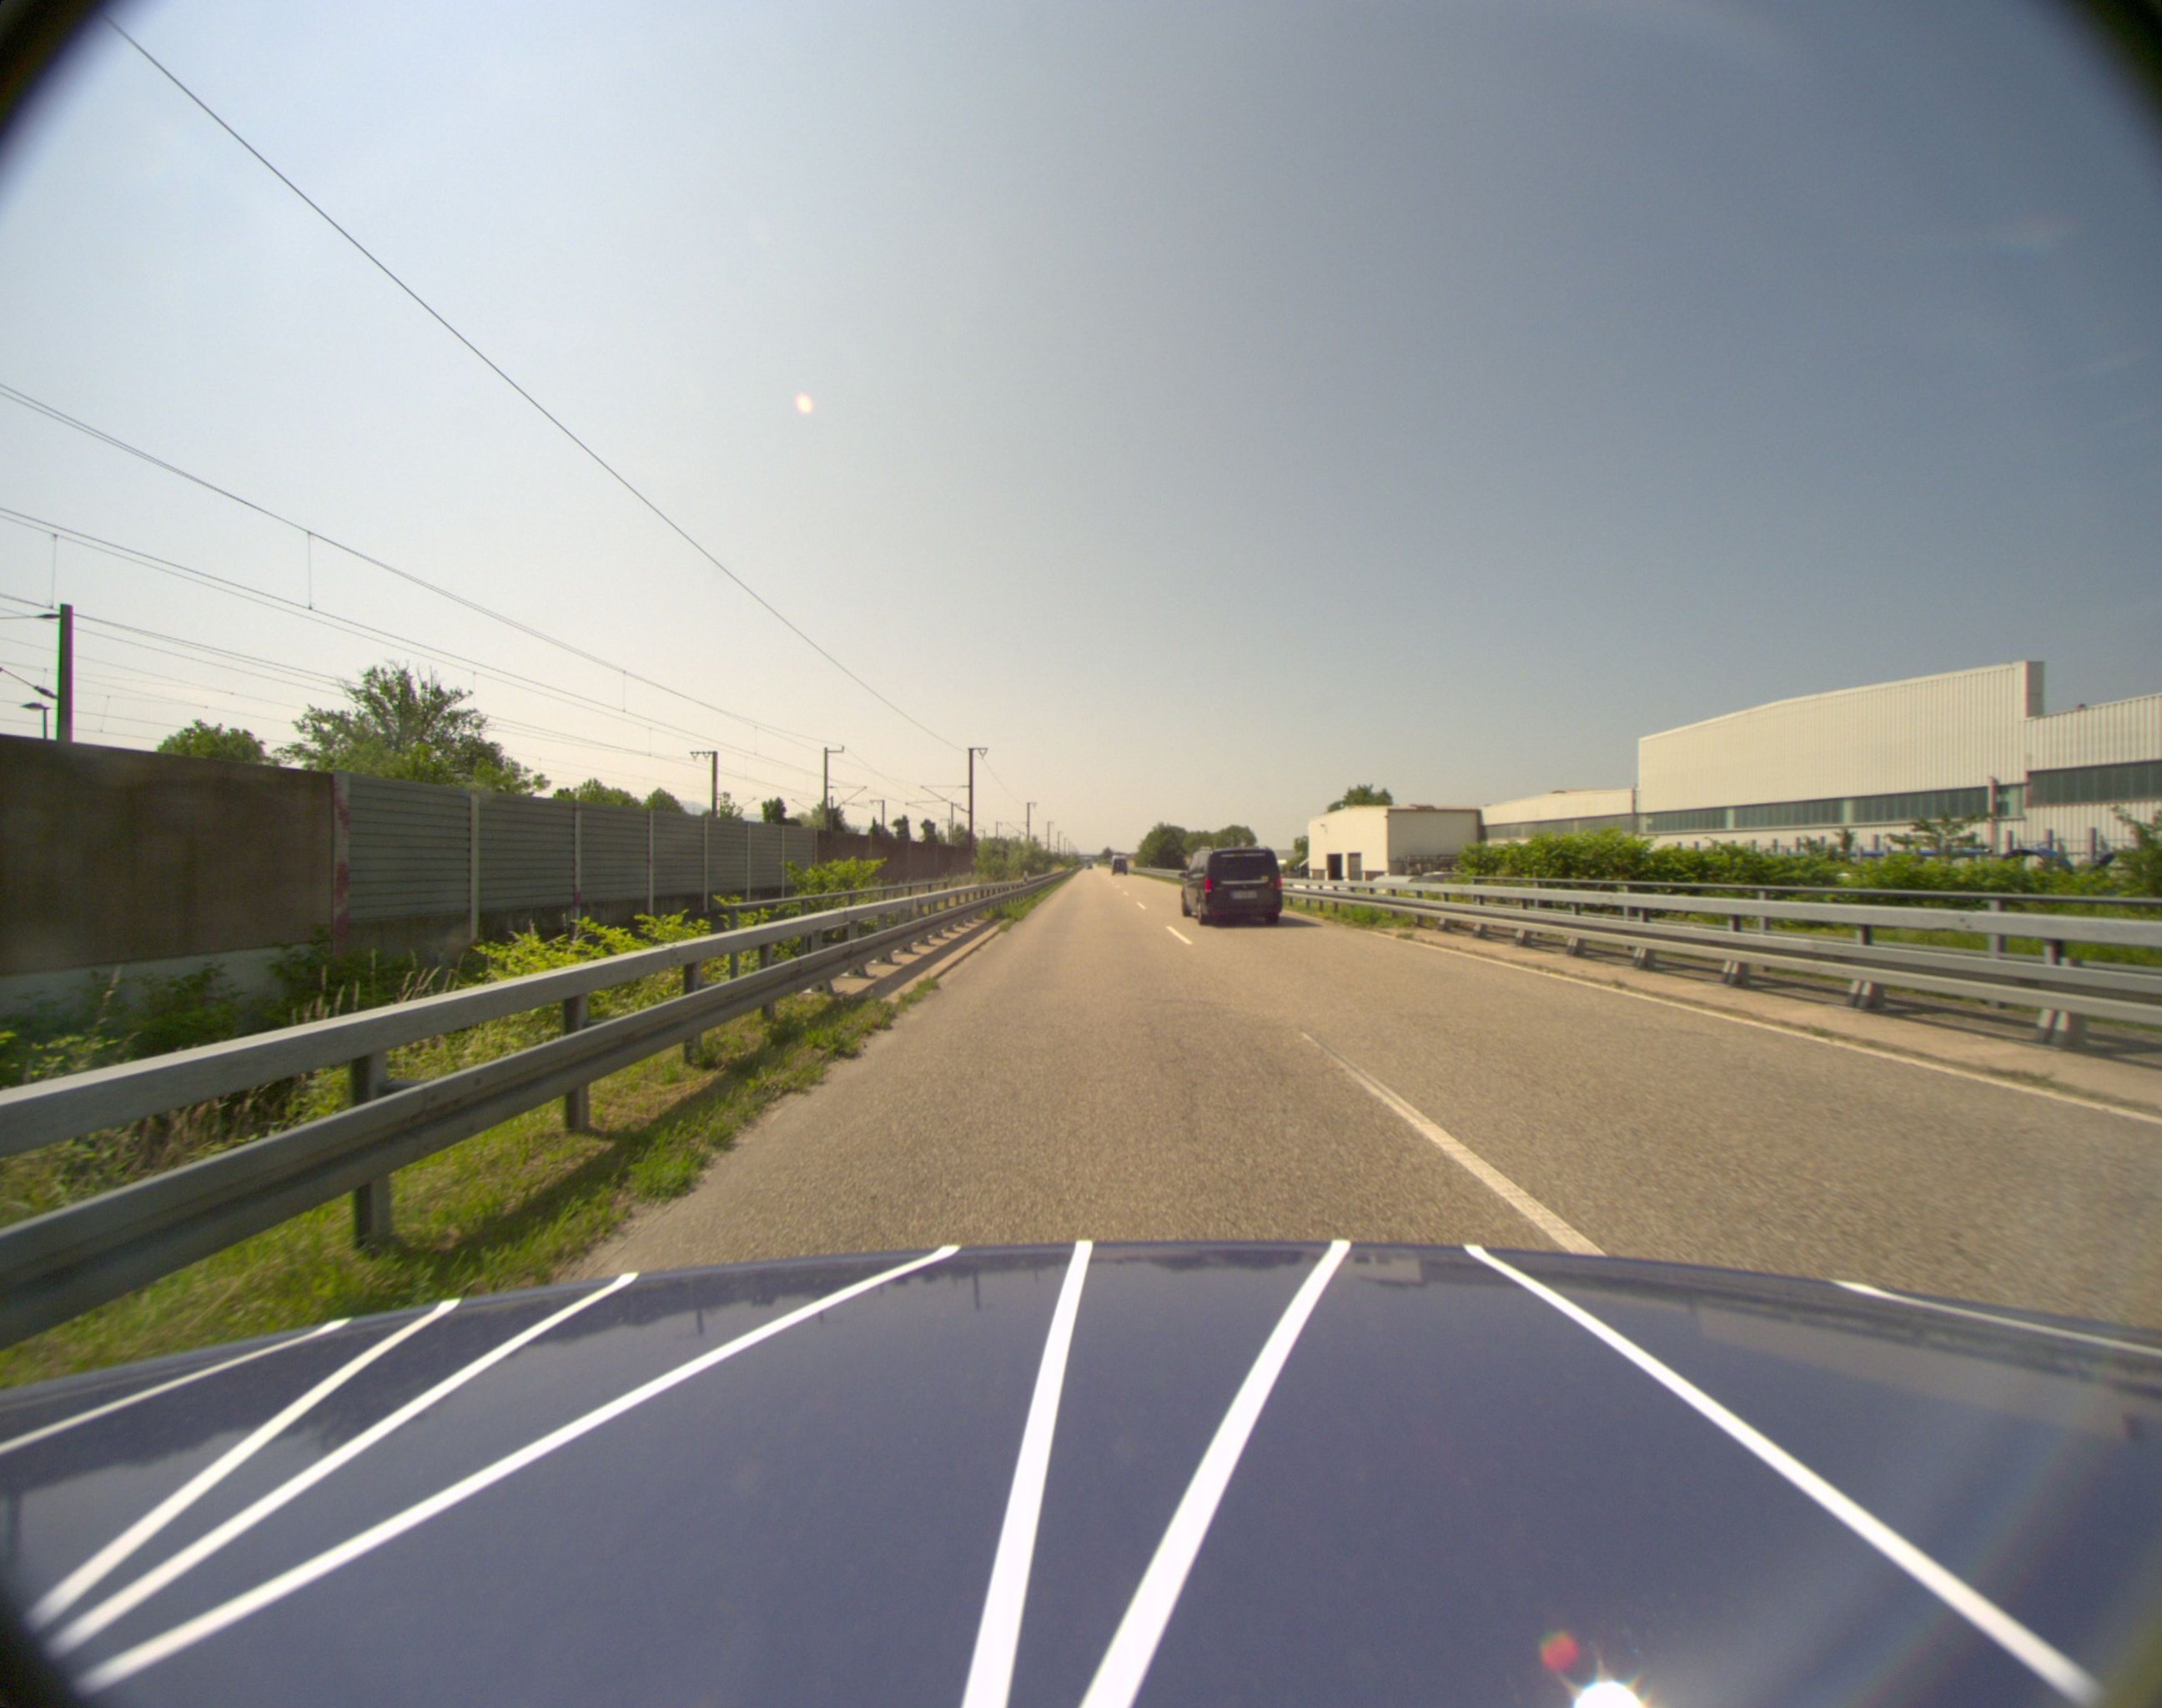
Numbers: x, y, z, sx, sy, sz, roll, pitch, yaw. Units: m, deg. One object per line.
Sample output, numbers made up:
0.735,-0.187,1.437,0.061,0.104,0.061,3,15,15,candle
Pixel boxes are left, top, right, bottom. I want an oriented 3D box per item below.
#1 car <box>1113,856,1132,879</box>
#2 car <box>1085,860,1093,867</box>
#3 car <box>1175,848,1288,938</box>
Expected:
5.515,1.756,101.671,2.084,2.944,6.730,-2,-1,1,car
2.143,2.656,207.675,1.999,2.001,4.000,-1,-1,-1,car
3.748,0.931,19.983,1.898,2.001,5.370,-1,-1,0,car
